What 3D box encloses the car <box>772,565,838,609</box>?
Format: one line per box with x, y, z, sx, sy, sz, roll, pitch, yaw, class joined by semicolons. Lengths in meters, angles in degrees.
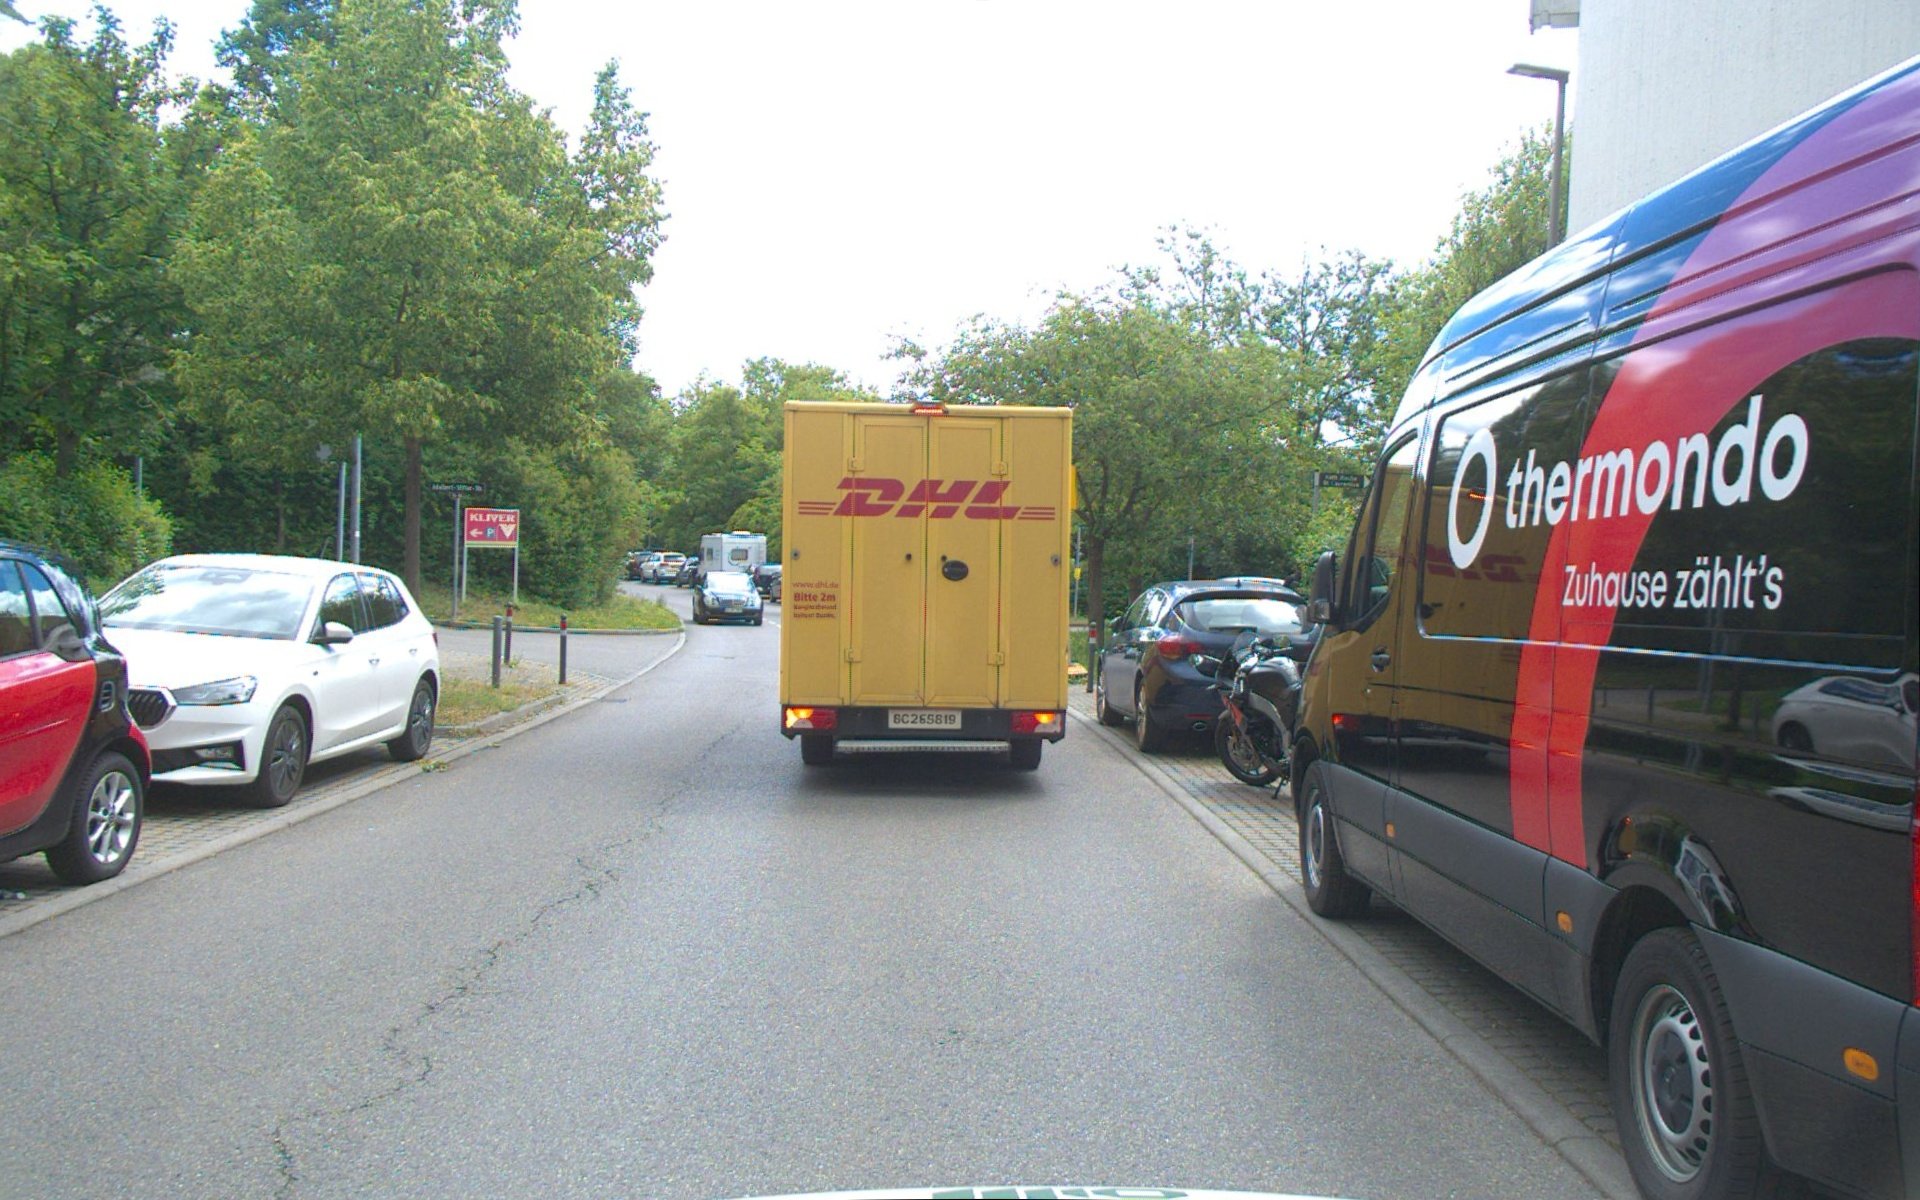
-6.299;-0.553;66.780;1.815;1.556;3.981;2;2;-18;car

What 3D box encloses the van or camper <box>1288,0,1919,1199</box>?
2.603;0.135;5.234;1.953;2.567;5.470;0;0;-1;van or camper

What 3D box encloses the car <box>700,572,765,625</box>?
-6.470;-0.081;47.333;1.642;1.378;3.965;2;1;-6;car

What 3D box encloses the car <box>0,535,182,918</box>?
-4.567;0.475;6.677;1.497;1.532;2.713;3;1;0;car

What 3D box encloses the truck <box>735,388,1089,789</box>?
-0.504;-0.130;14.851;2.417;2.749;6.821;1;1;-3;truck

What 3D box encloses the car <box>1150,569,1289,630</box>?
7.247;-0.028;46.458;3.557;1.511;1.691;3;2;-1;car

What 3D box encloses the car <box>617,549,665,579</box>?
-19.038;-2.158;98.500;1.821;1.641;3.968;2;2;-26;car

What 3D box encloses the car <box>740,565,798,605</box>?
-8.567;-0.690;74.088;1.815;1.556;3.981;2;2;-18;car

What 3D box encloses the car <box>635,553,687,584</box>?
-16.830;-1.773;92.925;1.821;1.556;3.968;2;2;-26;car

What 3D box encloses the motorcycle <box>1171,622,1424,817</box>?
2.253;0.770;11.384;0.883;1.131;2.078;2;1;-14;motorcycle

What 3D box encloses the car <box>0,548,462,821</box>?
-4.801;0.440;11.224;1.640;1.461;3.969;3;1;-1;car

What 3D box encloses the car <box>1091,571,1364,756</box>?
2.360;0.519;15.578;1.694;1.458;3.966;2;0;-3;car

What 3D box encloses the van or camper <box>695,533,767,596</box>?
-11.235;-1.786;80.922;2.291;2.921;5.227;1;2;-22;van or camper
